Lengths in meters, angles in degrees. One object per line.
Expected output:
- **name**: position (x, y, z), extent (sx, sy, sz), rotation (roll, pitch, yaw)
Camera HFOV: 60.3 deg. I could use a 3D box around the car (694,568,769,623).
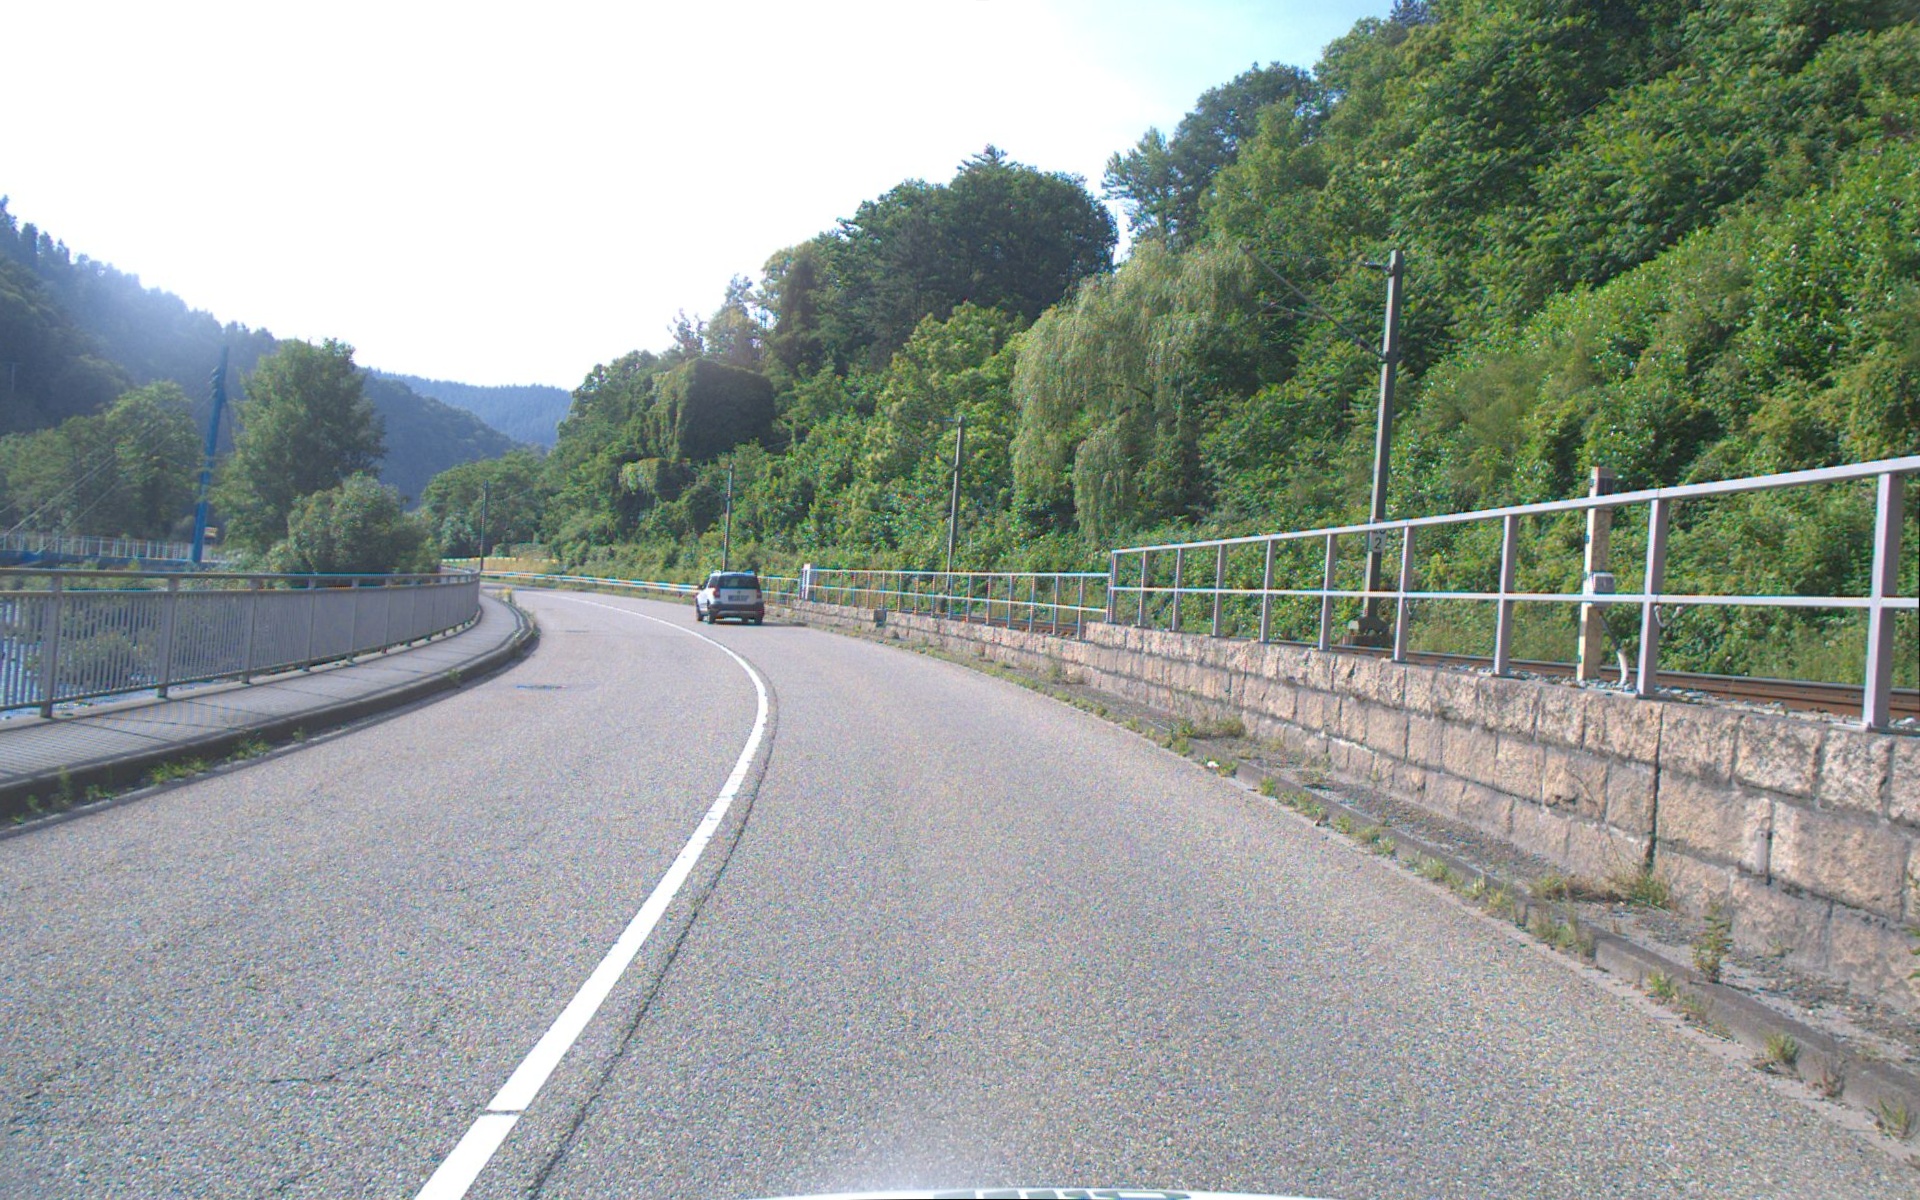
- **car**: position (-7.452, -0.169, 53.648), extent (1.842, 1.684, 3.983), rotation (1, 1, -16)
